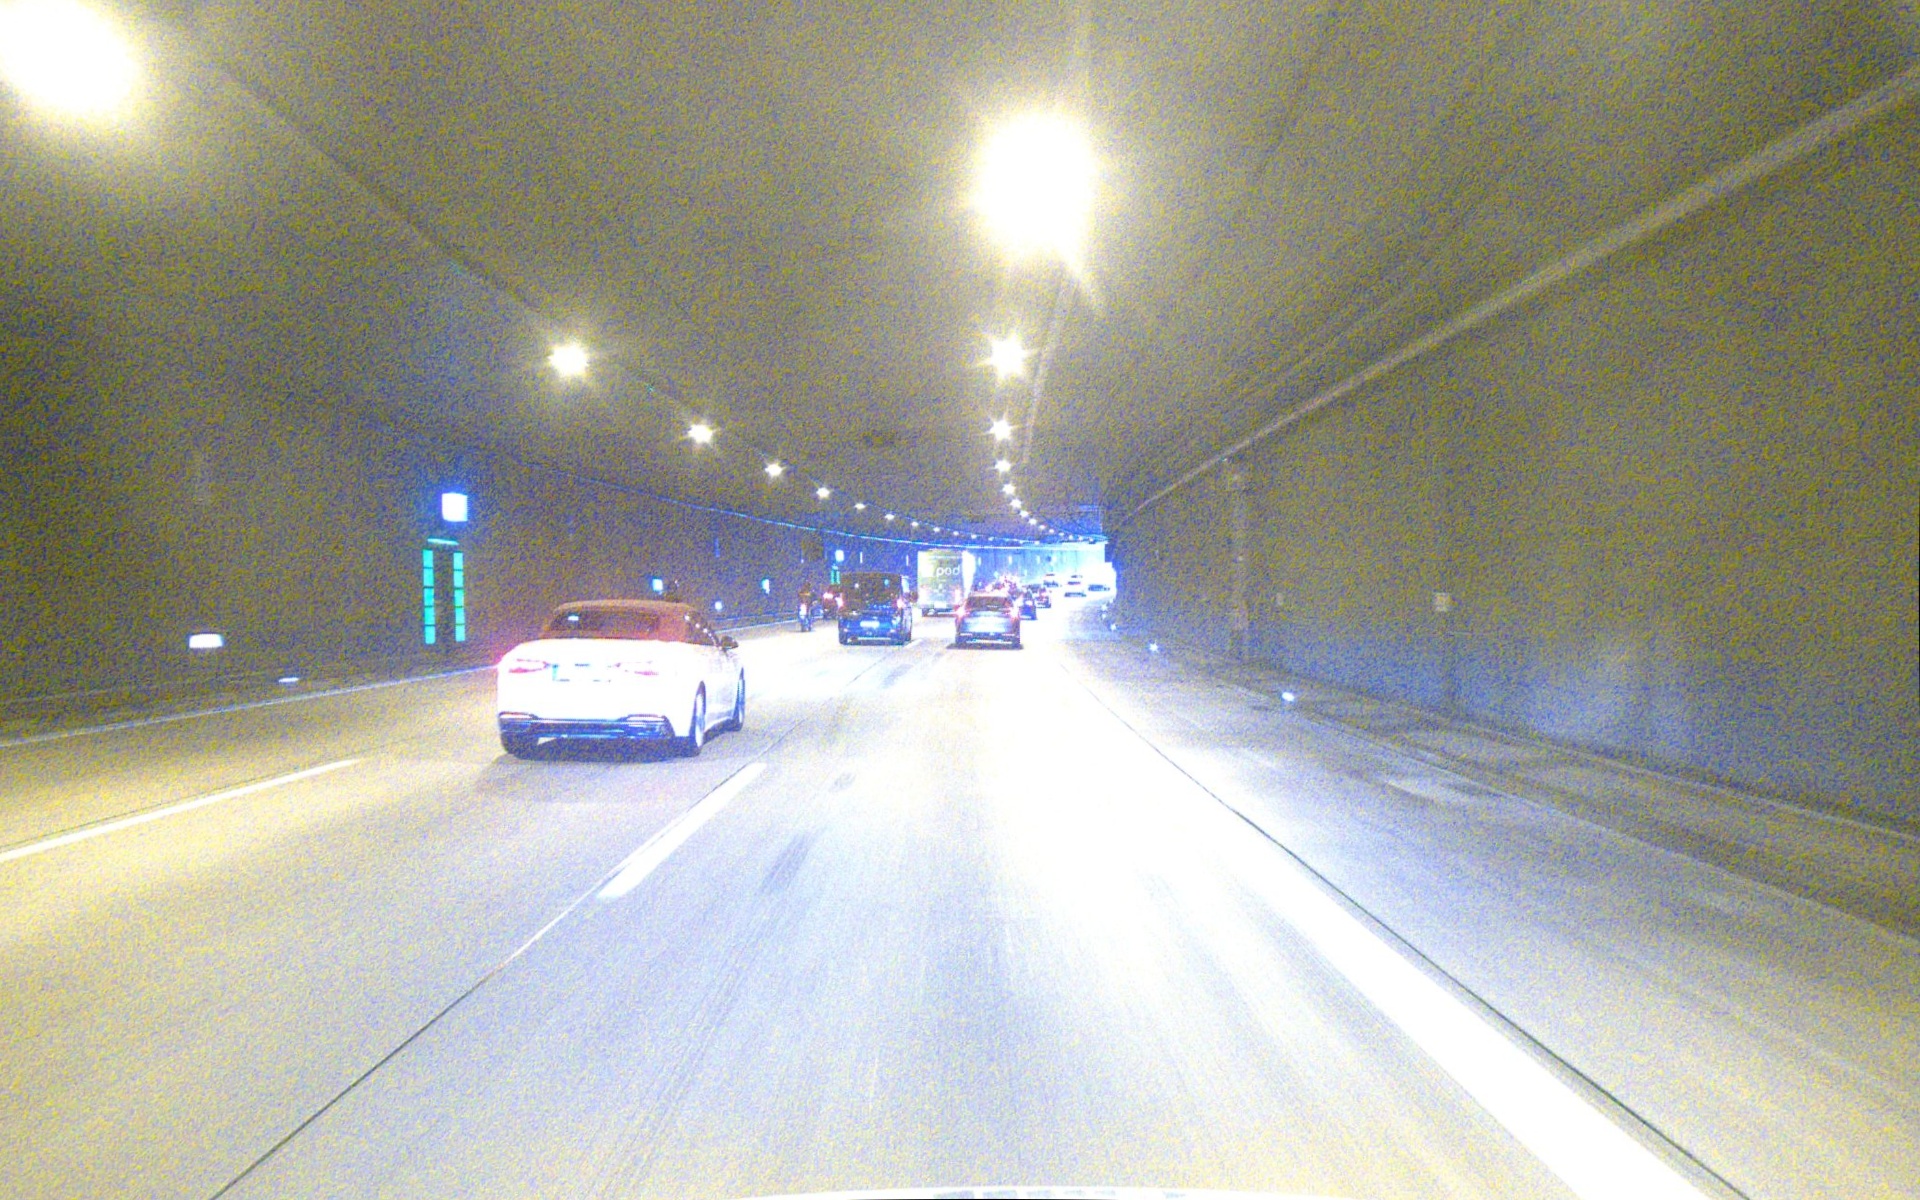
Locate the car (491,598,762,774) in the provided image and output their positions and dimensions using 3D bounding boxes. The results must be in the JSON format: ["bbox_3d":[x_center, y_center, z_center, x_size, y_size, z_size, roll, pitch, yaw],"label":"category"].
[{"bbox_3d":[-3.131,0.724,16.563,1.667,1.443,5.060,0,1,0],"label":"car"}]

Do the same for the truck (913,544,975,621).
[{"bbox_3d":[-0.770,-0.847,83.825,2.977,3.737,7.392,1,0,0],"label":"truck"}]

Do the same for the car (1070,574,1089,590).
[{"bbox_3d":[13.131,-1.960,181.674,1.951,1.660,4.003,1,-1,7],"label":"car"}]

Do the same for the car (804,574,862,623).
[{"bbox_3d":[-5.444,-0.080,71.523,1.952,2.049,4.002,1,0,3],"label":"car"}]

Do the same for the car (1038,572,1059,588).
[{"bbox_3d":[10.051,-2.303,187.659,1.889,1.671,4.003,1,-1,11],"label":"car"}]

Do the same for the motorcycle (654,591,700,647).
[{"bbox_3d":[-6.942,0.467,40.641,0.669,1.320,2.399,1,-1,1],"label":"motorcycle"}]

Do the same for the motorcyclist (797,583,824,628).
[{"bbox_3d":[-5.089,0.202,56.363,0.790,1.474,1.864,1,-2,-2],"label":"motorcyclist"}]

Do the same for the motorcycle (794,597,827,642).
[{"bbox_3d":[-5.080,0.673,56.336,0.907,1.459,2.962,1,-1,-2],"label":"motorcycle"}]

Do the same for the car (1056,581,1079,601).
[{"bbox_3d":[9.380,-0.759,144.590,1.890,1.671,4.000,1,-1,1],"label":"car"}]

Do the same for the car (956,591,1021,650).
[{"bbox_3d":[0.817,0.527,45.450,1.706,1.489,3.873,0,1,2],"label":"car"}]

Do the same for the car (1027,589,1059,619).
[{"bbox_3d":[5.232,0.298,104.752,1.909,1.803,4.000,1,-1,2],"label":"car"}]

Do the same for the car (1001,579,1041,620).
[{"bbox_3d":[2.902,-0.024,79.056,1.818,1.887,4.001,1,0,1],"label":"car"}]

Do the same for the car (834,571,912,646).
[{"bbox_3d":[-2.398,0.190,46.658,1.870,1.978,3.872,0,1,2],"label":"car"}]

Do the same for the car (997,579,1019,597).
[{"bbox_3d":[4.633,-1.117,158.969,1.890,1.671,4.002,1,0,5],"label":"car"}]

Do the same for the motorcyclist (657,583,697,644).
[{"bbox_3d":[-6.941,0.332,40.609,0.761,1.478,1.069,1,-1,0],"label":"motorcyclist"}]

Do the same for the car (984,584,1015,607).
[{"bbox_3d":[2.951,-0.302,123.505,1.951,1.660,4.003,1,0,6],"label":"car"}]

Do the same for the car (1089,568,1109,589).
[{"bbox_3d":[14.484,-2.215,171.901,1.951,2.049,4.002,1,-1,6],"label":"car"}]
